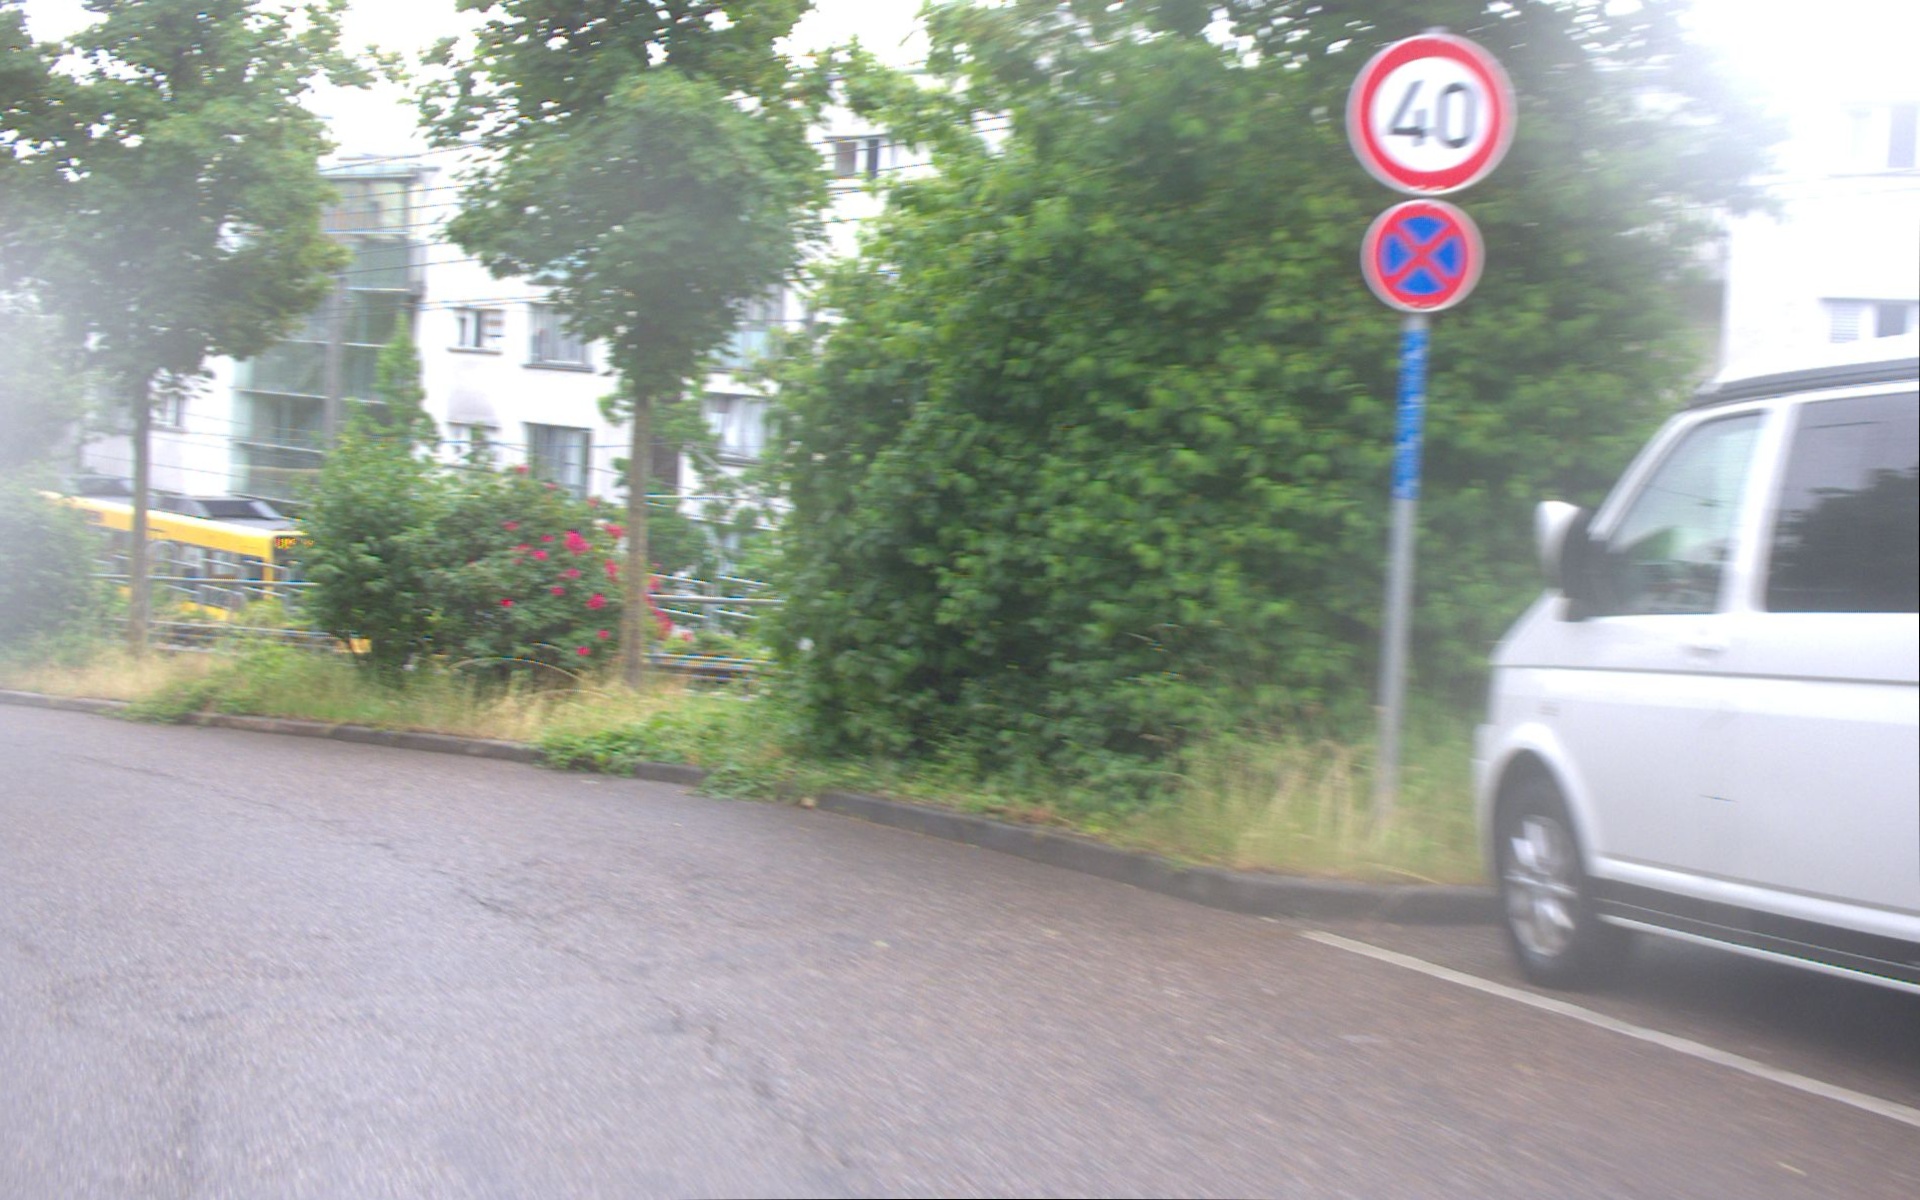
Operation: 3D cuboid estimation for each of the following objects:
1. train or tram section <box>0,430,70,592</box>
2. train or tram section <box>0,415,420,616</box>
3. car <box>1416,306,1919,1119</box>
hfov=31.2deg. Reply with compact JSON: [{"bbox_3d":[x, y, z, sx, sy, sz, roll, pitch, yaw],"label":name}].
[{"bbox_3d":[-28.884,-2.409,91.537,3.331,3.934,18.810,1,1,-36],"label":"train or tram section"},{"bbox_3d":[-17.971,-1.902,76.450,3.331,3.934,19.278,1,1,-36],"label":"train or tram section"},{"bbox_3d":[3.059,0.243,9.473,1.876,2.007,4.693,-1,2,-15],"label":"car"}]
